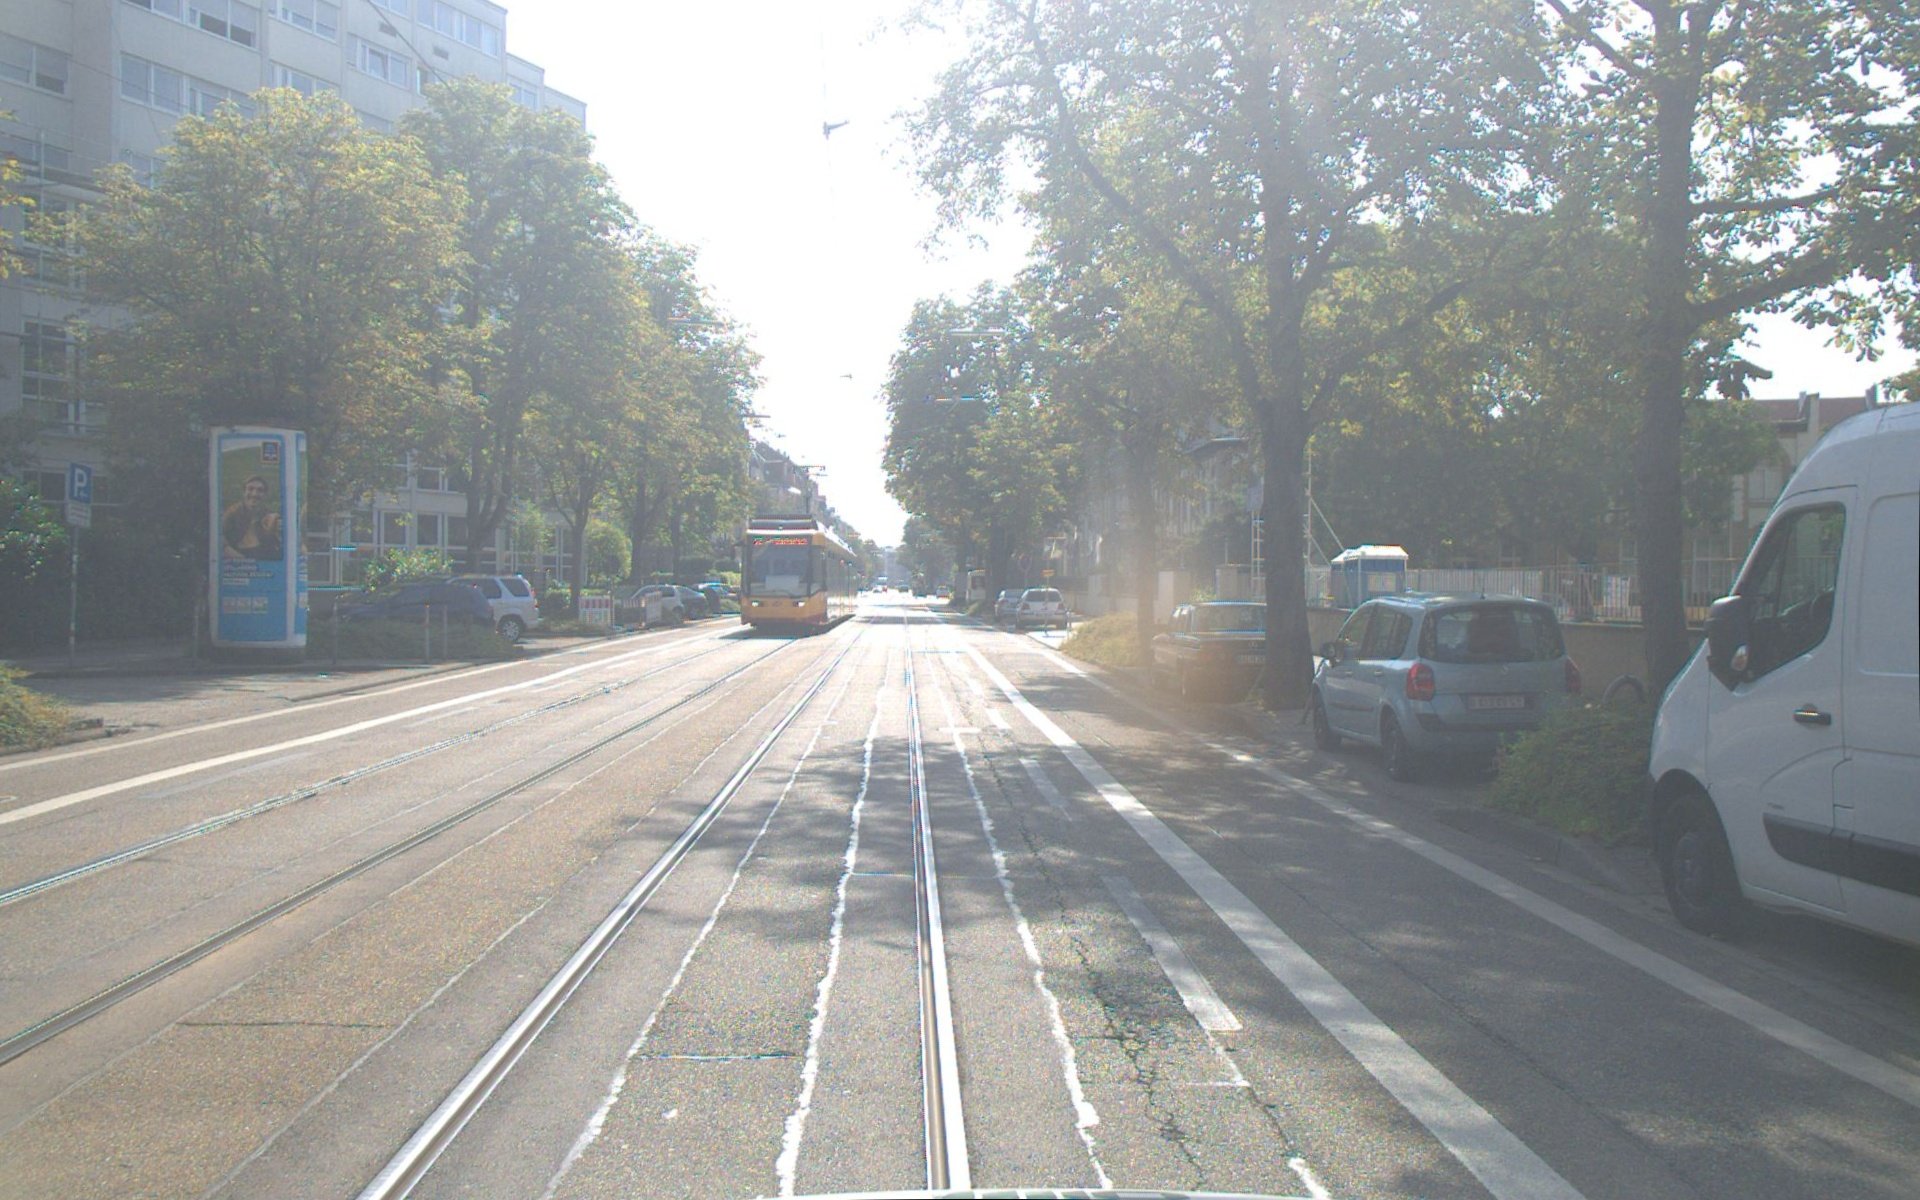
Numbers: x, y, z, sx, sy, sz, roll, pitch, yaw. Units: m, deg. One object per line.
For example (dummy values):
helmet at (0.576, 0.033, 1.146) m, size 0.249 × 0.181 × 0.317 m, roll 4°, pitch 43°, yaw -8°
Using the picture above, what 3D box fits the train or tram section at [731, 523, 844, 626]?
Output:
train or tram section at (-5.454, -0.779, 54.946) m, size 2.674 × 2.945 × 15.449 m, roll 0°, pitch 0°, yaw -2°

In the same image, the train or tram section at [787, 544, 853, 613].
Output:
train or tram section at (-5.986, -0.912, 71.067) m, size 2.651 × 2.906 × 3.648 m, roll 0°, pitch 0°, yaw -2°

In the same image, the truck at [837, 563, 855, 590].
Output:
truck at (-13.025, -2.706, 188.731) m, size 1.953 × 3.027 × 4.569 m, roll 0°, pitch 0°, yaw -3°

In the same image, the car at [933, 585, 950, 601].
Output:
car at (-2.224, -0.896, 198.675) m, size 1.953 × 1.870 × 3.999 m, roll 0°, pitch 1°, yaw -1°

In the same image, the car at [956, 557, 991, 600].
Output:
car at (0.781, -1.312, 100.485) m, size 1.964 × 2.534 × 4.476 m, roll 0°, pitch 1°, yaw -1°

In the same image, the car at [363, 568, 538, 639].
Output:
car at (-12.430, 0.069, 40.484) m, size 1.714 × 1.650 × 3.771 m, roll 1°, pitch 1°, yaw 43°

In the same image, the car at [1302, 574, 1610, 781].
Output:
car at (4.486, 0.607, 15.540) m, size 1.631 × 1.645 × 3.876 m, roll -1°, pitch 1°, yaw -2°

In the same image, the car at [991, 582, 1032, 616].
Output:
car at (2.233, -0.065, 72.370) m, size 1.562 × 1.443 × 3.633 m, roll 0°, pitch 1°, yaw -1°

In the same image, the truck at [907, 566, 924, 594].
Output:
truck at (-5.080, -2.308, 188.951) m, size 1.824 × 3.185 × 4.349 m, roll 0°, pitch 0°, yaw -4°

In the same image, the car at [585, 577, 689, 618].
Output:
car at (-12.070, -0.108, 61.986) m, size 1.540 × 1.468 × 3.747 m, roll 1°, pitch 1°, yaw 37°

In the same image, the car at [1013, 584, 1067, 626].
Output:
car at (2.808, 0.159, 58.650) m, size 1.655 × 1.443 × 3.633 m, roll 0°, pitch 1°, yaw -1°

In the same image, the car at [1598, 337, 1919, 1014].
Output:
car at (4.685, 0.253, 6.255) m, size 2.041 × 2.597 × 5.498 m, roll -3°, pitch 1°, yaw -3°

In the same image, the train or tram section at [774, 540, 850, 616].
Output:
train or tram section at (-5.823, -0.856, 65.948) m, size 2.674 × 2.899 × 6.541 m, roll 0°, pitch 0°, yaw -2°

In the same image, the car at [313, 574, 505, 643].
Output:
car at (-12.338, 0.170, 37.141) m, size 3.768 × 1.467 × 1.666 m, roll 0°, pitch 1°, yaw -45°

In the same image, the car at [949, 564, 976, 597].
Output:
car at (0.145, -1.524, 127.578) m, size 1.964 × 2.518 × 4.476 m, roll 0°, pitch 1°, yaw -1°

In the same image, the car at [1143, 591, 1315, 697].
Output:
car at (4.012, 0.593, 25.407) m, size 1.718 × 1.401 × 4.717 m, roll -1°, pitch 1°, yaw -2°
